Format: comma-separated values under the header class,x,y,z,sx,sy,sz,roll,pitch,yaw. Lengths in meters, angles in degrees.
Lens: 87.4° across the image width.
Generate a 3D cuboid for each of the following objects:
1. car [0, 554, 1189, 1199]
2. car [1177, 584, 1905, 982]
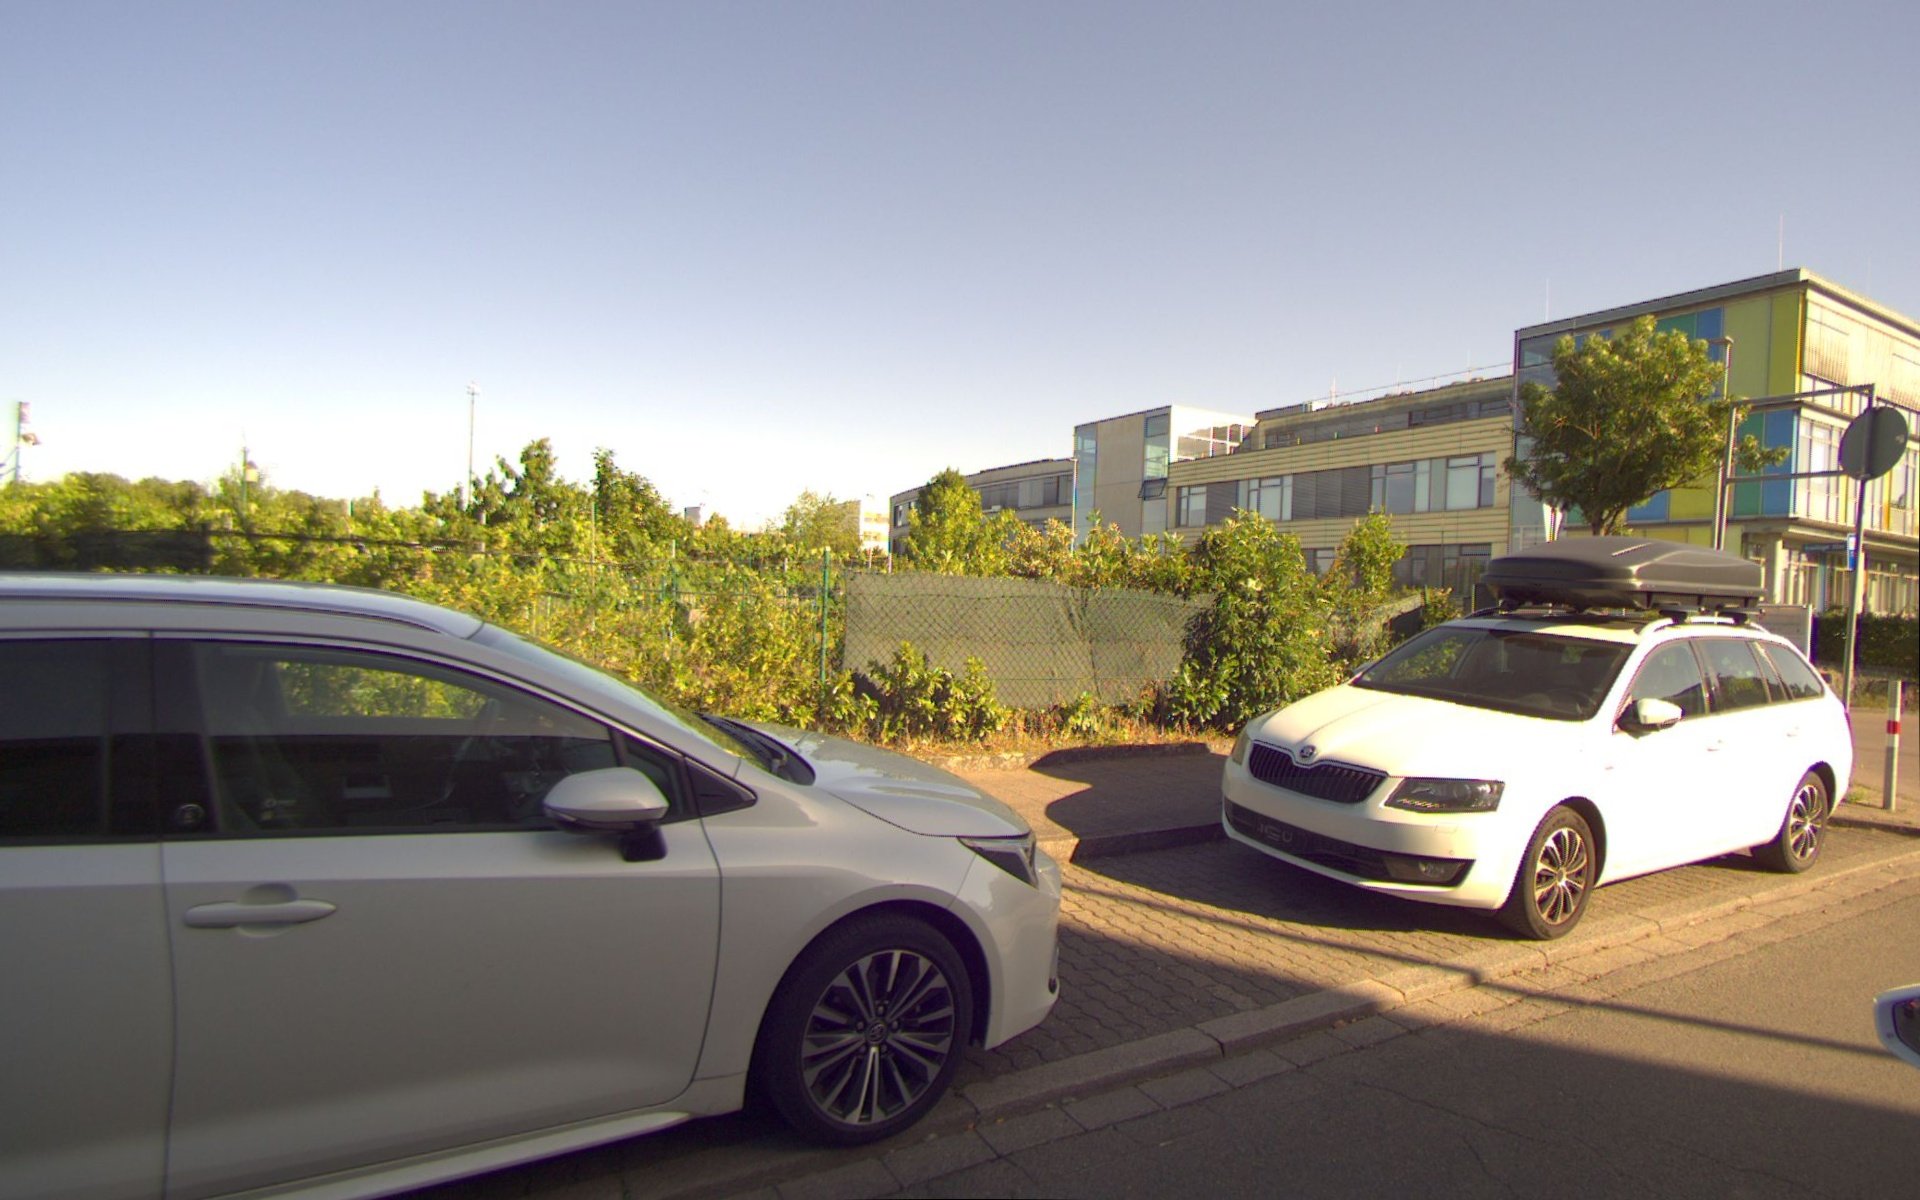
class,x,y,z,sx,sy,sz,roll,pitch,yaw
car,-1.691,0.682,2.749,4.488,1.465,1.738,2,3,-30
car,3.559,0.793,5.903,4.465,1.534,1.687,2,2,-31
